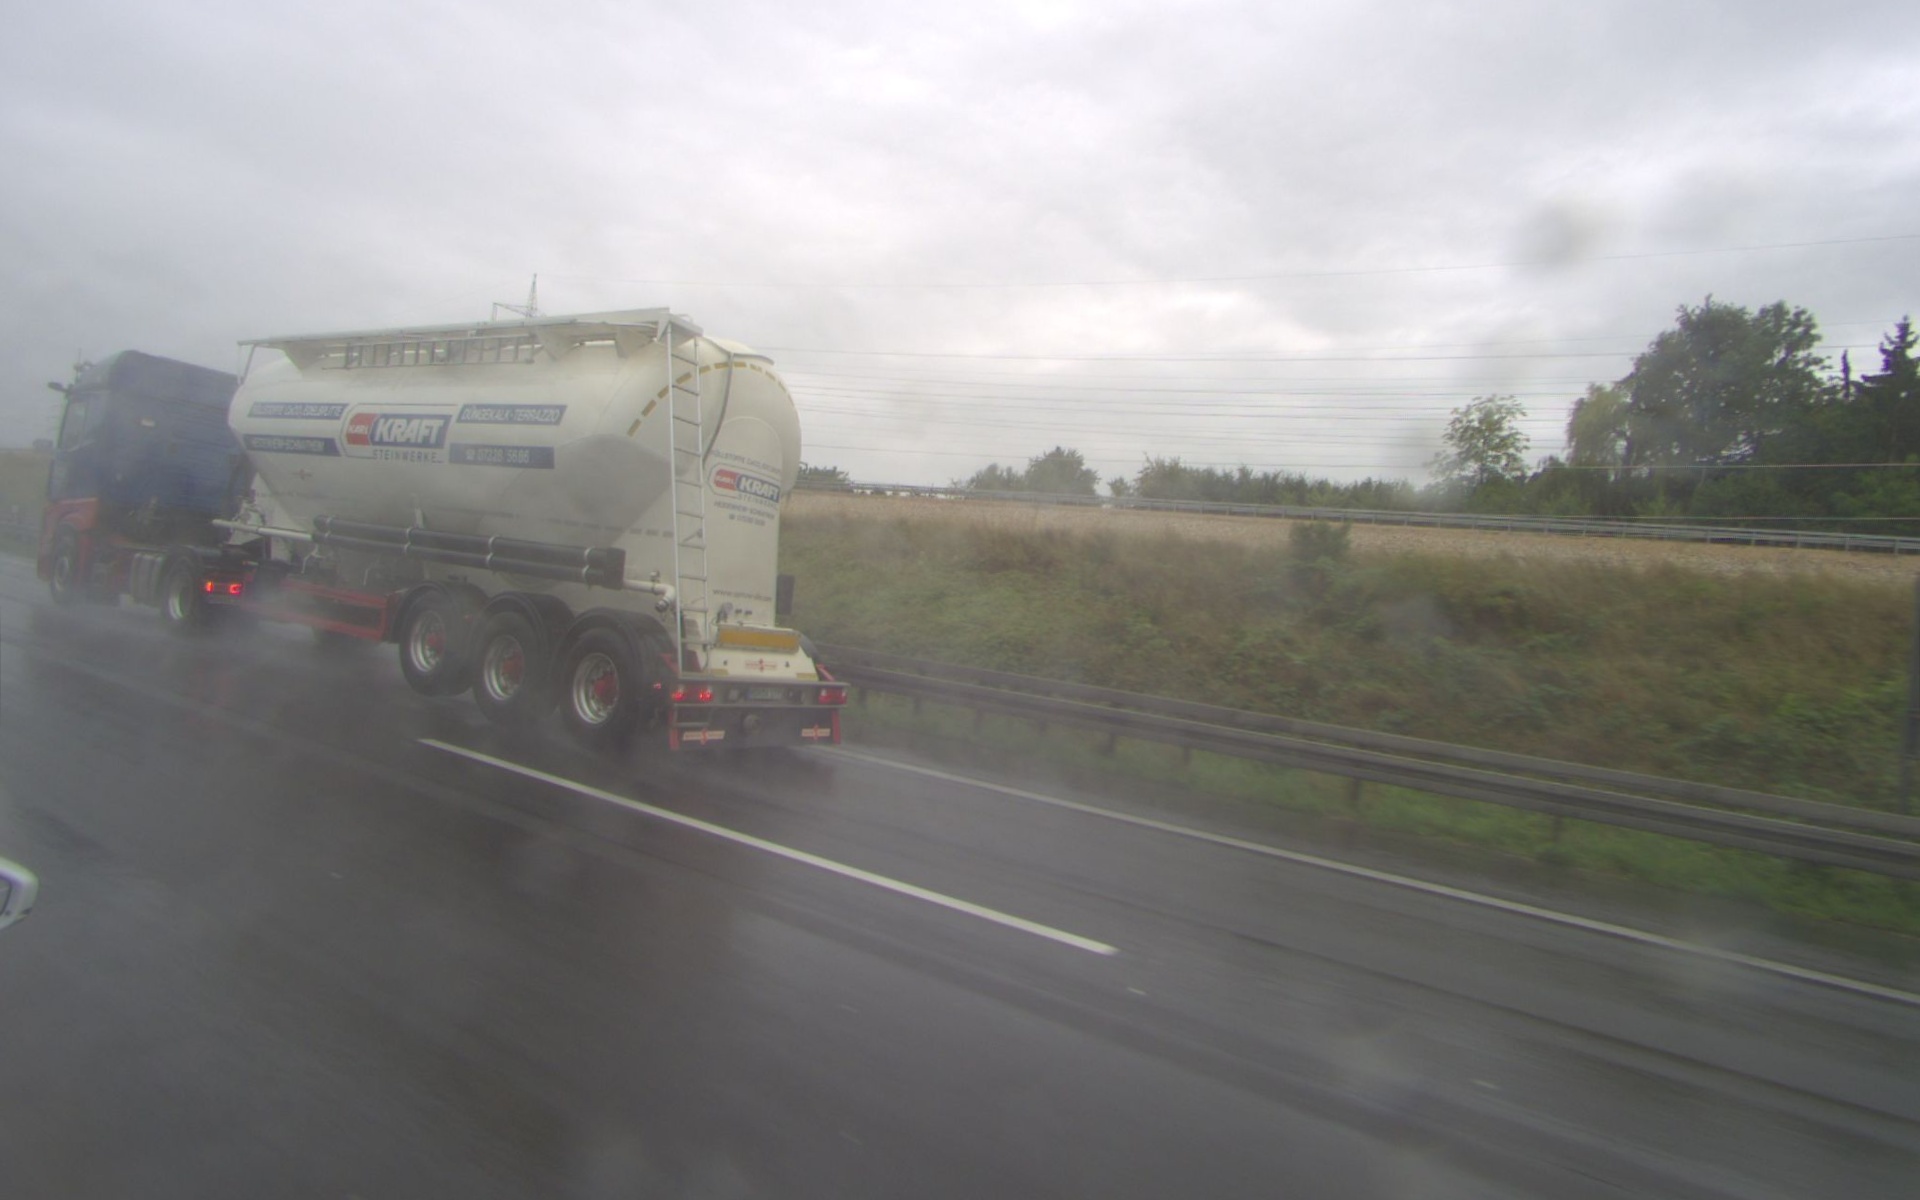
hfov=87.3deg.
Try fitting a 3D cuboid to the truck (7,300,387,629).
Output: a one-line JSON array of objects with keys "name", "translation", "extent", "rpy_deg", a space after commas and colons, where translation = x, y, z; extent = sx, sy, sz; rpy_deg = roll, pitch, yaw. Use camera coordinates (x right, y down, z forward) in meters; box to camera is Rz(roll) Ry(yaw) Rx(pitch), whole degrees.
[{"name": "truck", "translation": [-11.483, -1.962, 15.092], "extent": [4.990, 4.031, 2.501], "rpy_deg": [8, -1, 31]}]

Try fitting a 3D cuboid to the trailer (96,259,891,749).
[{"name": "trailer", "translation": [-6.204, -1.250, 11.893], "extent": [10.880, 3.928, 2.502], "rpy_deg": [8, -1, 31]}]
